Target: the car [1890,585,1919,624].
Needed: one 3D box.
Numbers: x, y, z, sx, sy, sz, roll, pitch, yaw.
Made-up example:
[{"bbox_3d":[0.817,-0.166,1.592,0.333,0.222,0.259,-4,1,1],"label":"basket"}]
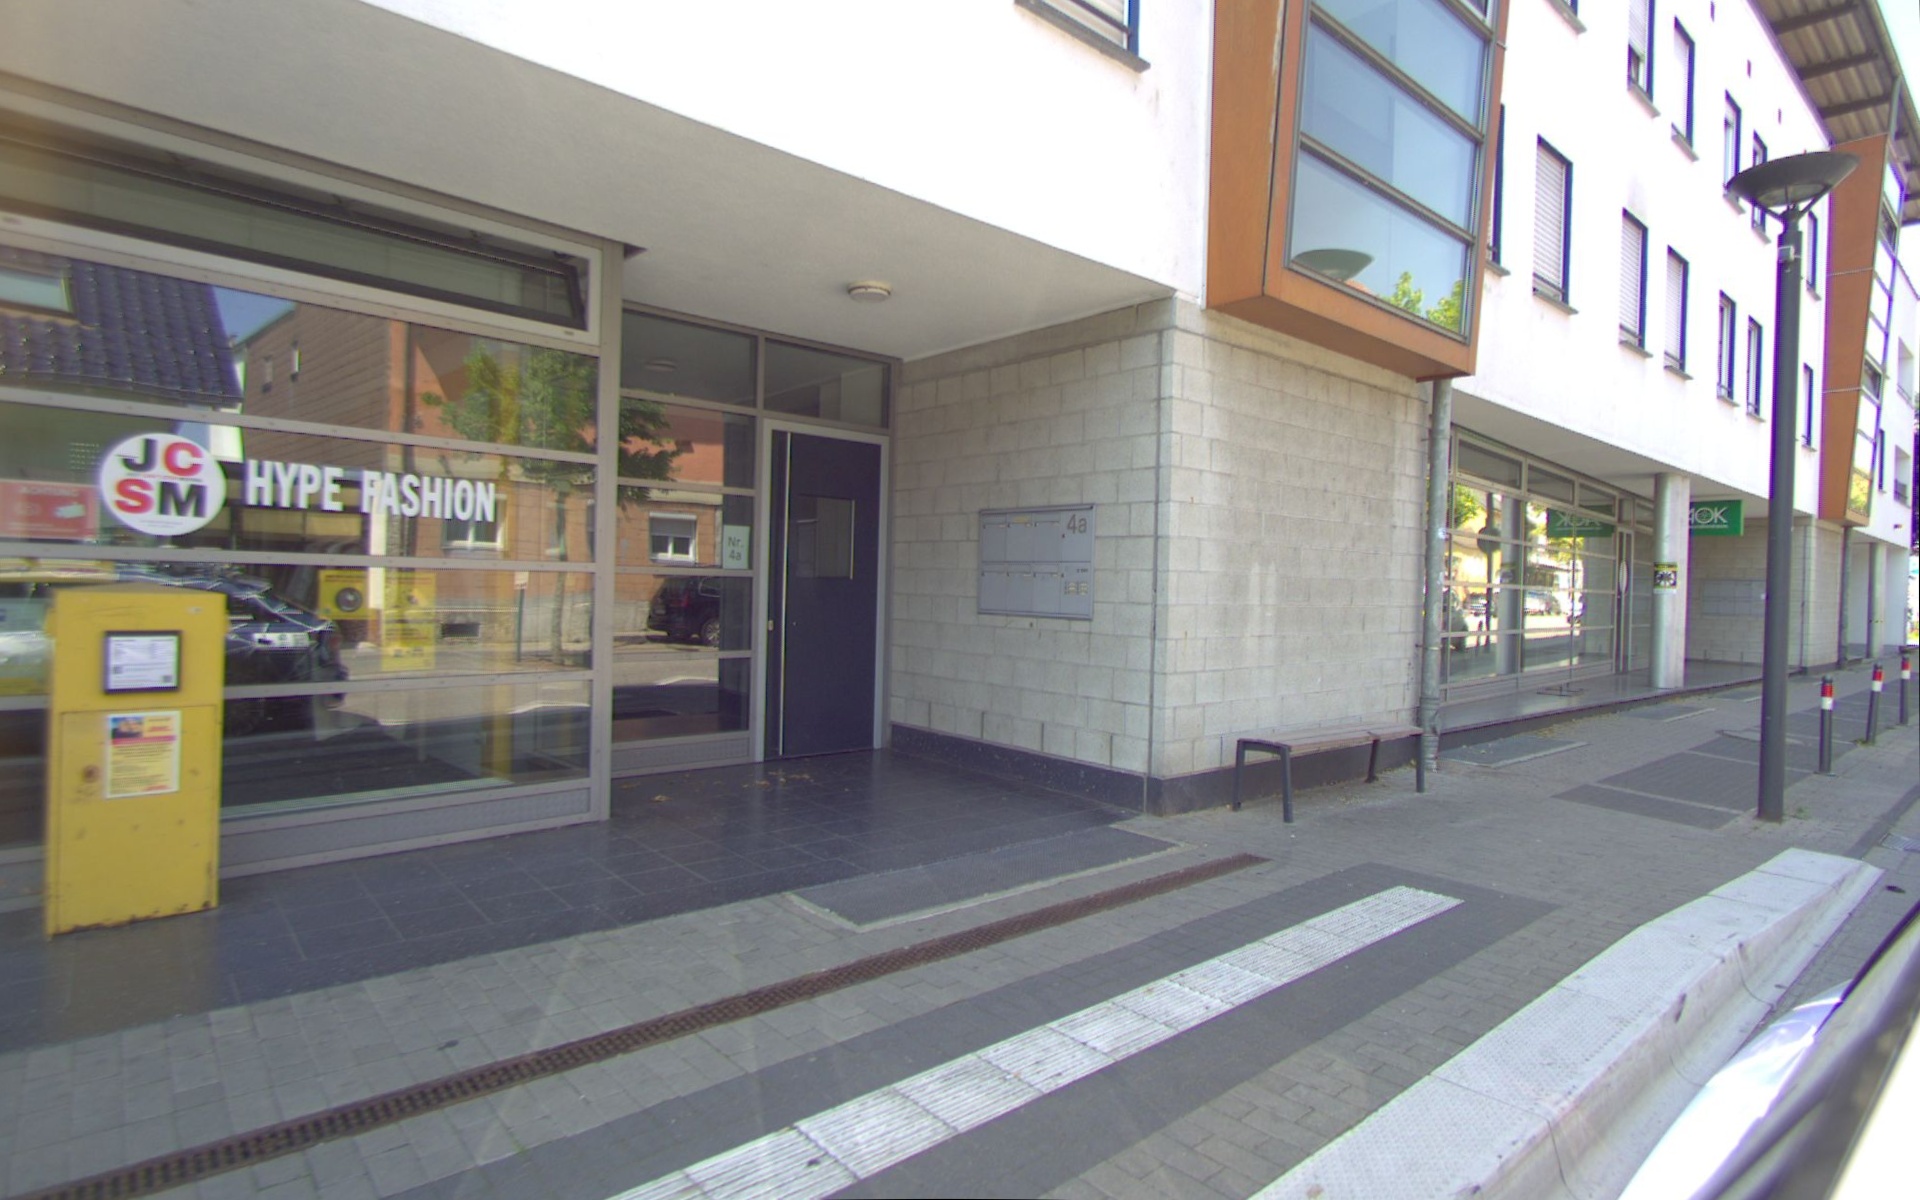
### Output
[{"bbox_3d":[48.680,0.284,49.674,1.965,1.883,4.201,0,2,-41],"label":"car"}]
